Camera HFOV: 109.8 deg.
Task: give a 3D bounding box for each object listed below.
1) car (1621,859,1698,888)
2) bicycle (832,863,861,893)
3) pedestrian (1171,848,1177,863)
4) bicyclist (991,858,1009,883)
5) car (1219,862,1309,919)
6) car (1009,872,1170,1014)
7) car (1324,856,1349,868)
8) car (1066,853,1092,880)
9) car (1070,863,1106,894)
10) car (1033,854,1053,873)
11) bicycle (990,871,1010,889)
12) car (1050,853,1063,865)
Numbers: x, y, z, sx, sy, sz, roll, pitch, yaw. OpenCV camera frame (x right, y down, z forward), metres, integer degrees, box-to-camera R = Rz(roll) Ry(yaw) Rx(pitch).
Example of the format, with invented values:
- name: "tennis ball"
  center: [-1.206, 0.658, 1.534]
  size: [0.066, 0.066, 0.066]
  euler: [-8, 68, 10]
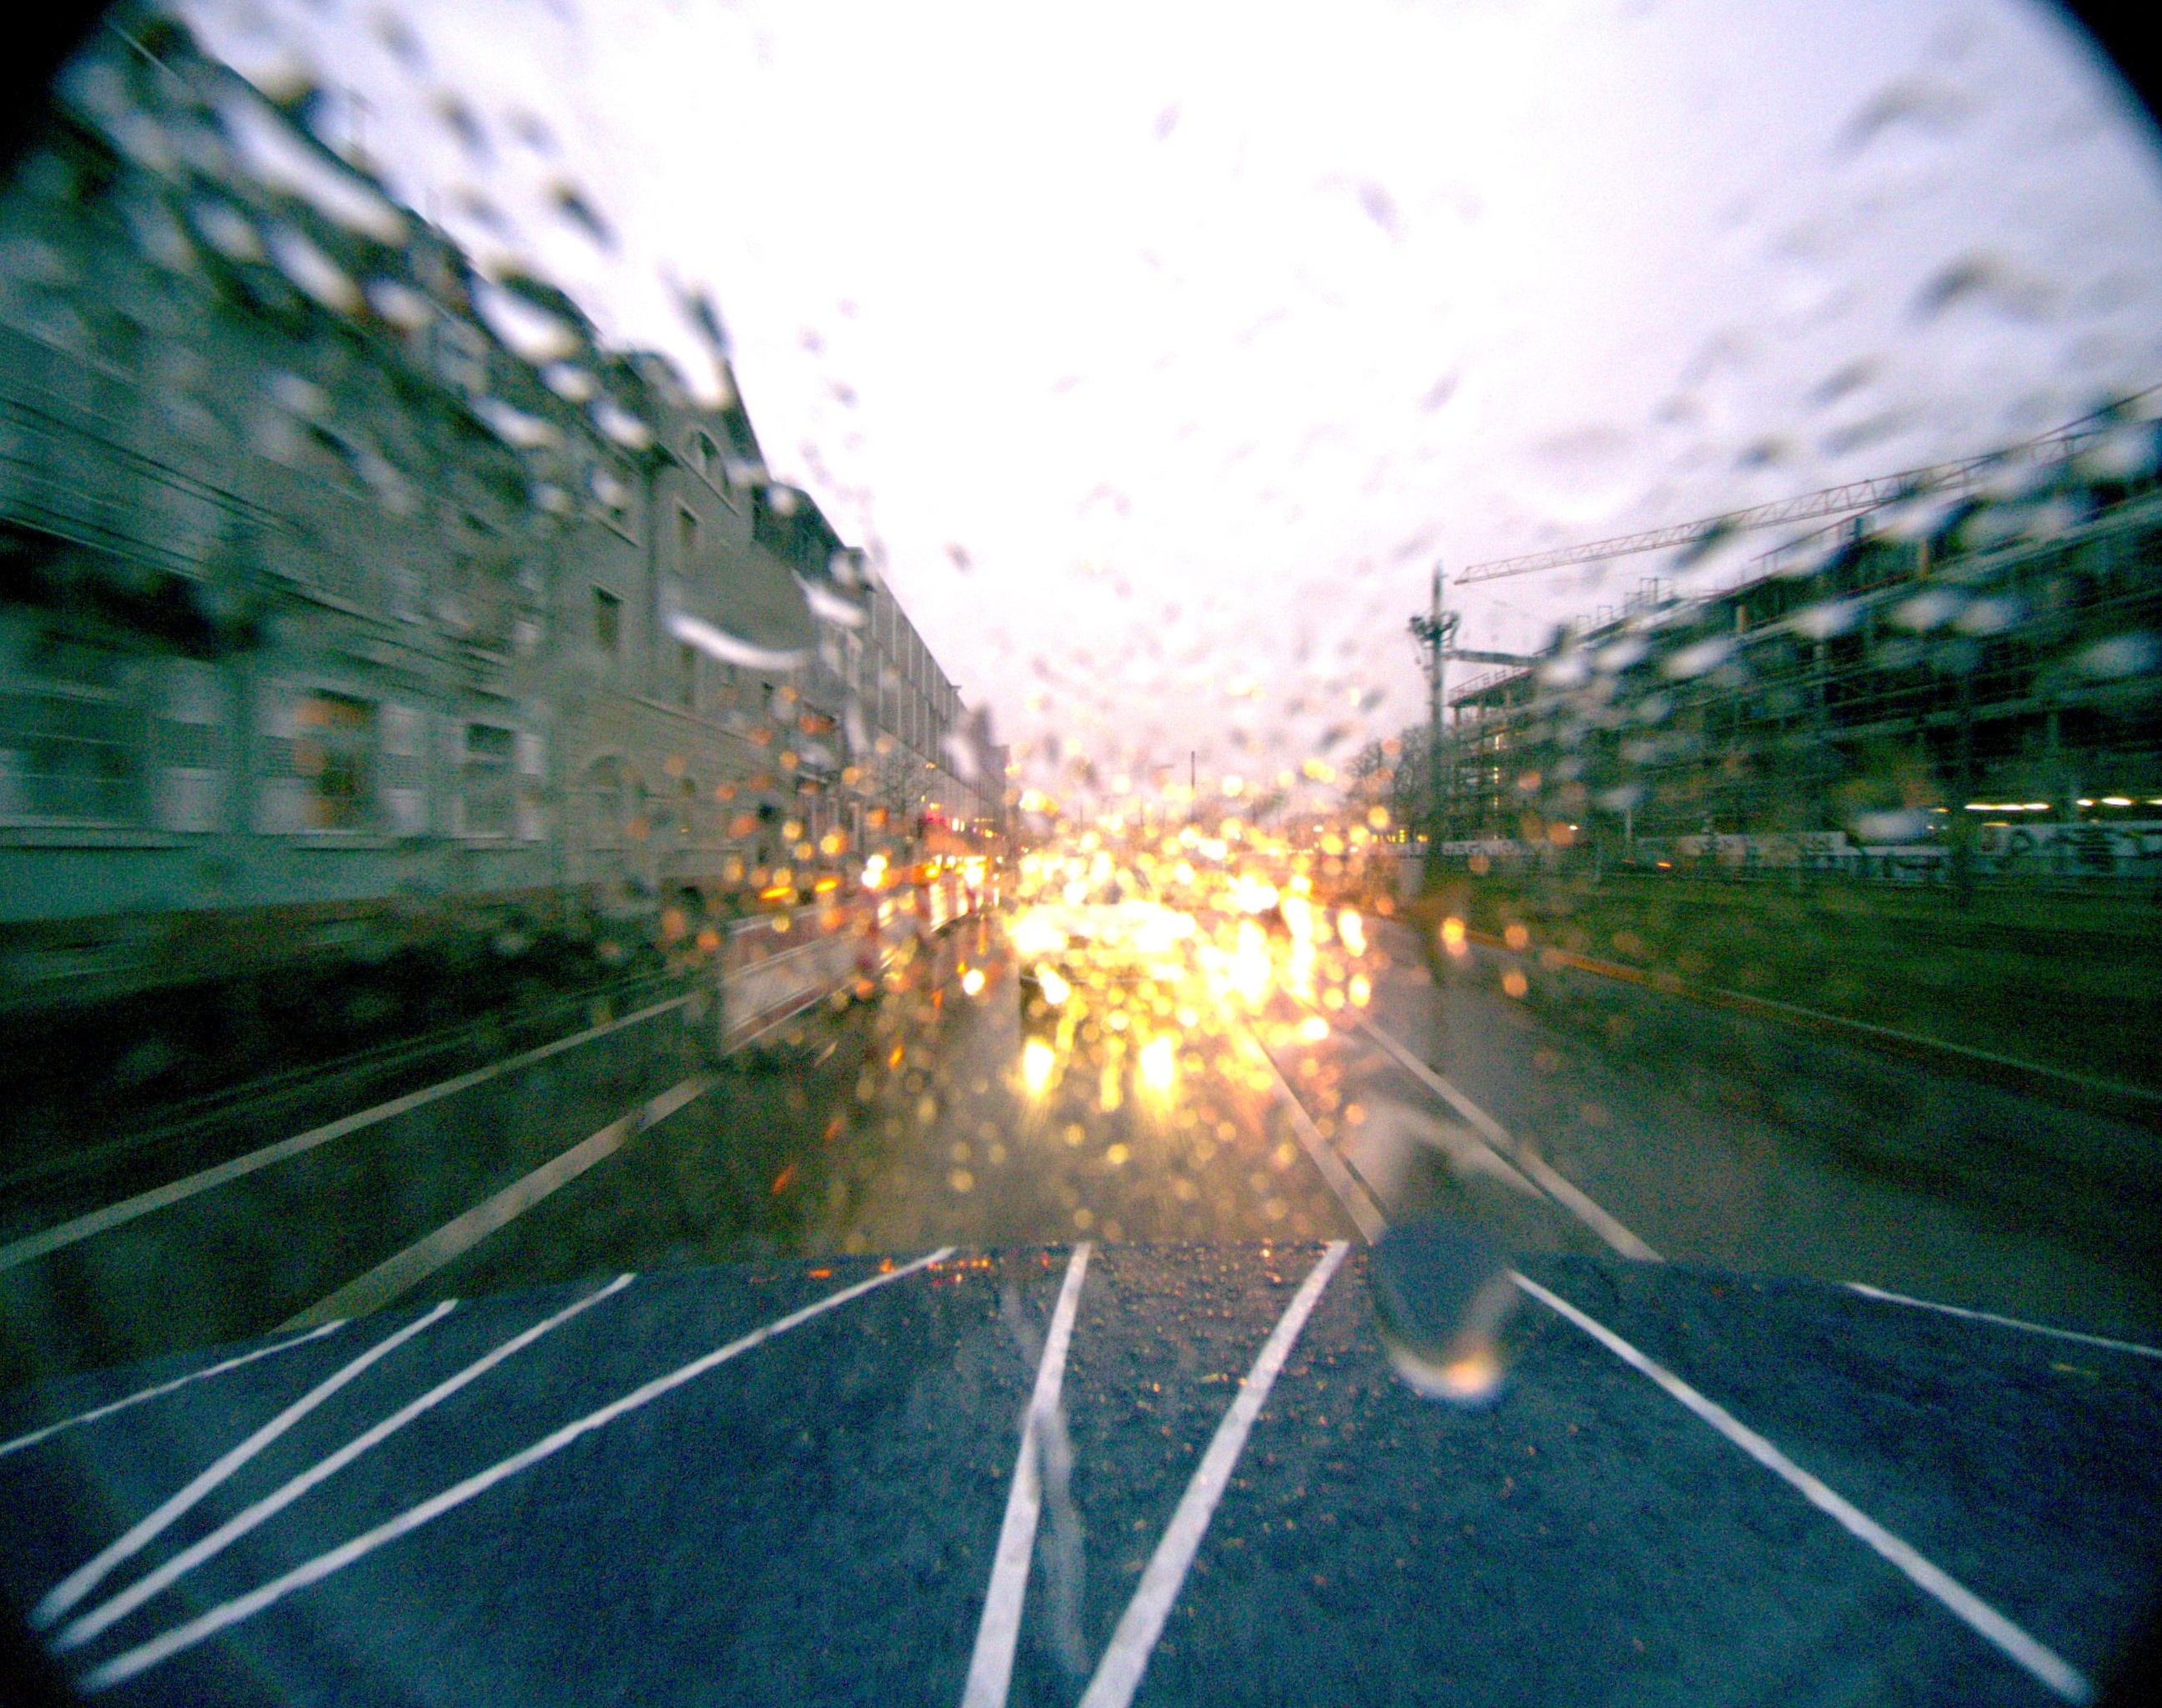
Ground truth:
- name: "car"
  center: [34.721, 1.159, 45.713]
  size: [1.758, 1.653, 3.764]
  euler: [0, 0, 0]
- name: "bicycle"
  center: [-10.237, 1.047, 33.206]
  size: [0.684, 1.215, 1.905]
  euler: [2, 1, -3]
- name: "pedestrian"
  center: [10.322, 0.189, 84.060]
  size: [0.585, 1.692, 0.740]
  euler: [-1, 1, 9]
- name: "bicyclist"
  center: [-4.891, 0.995, 45.786]
  size: [0.945, 1.454, 1.066]
  euler: [-1, 1, 0]
- name: "car"
  center: [5.164, 0.982, 21.899]
  size: [1.809, 1.444, 4.005]
  euler: [0, 0, 3]
- name: "car"
  center: [0.110, 1.071, 10.786]
  size: [1.814, 1.464, 4.139]
  euler: [-1, 0, 0]
- name: "car"
  center: [33.428, 1.048, 99.477]
  size: [1.687, 1.406, 4.340]
  euler: [-1, 0, -1]
- name: "car"
  center: [-0.181, 0.920, 57.916]
  size: [1.865, 1.867, 3.999]
  euler: [-1, 0, 0]
- name: "car"
  center: [0.391, 1.396, 44.621]
  size: [1.998, 1.673, 4.000]
  euler: [-1, 0, 0]
- name: "car"
  center: [-4.173, 1.063, 84.274]
  size: [1.999, 2.002, 3.999]
  euler: [-1, 1, -1]
- name: "bicycle"
  center: [-4.884, 1.546, 45.760]
  size: [0.945, 0.993, 2.240]
  euler: [-1, 0, 0]
- name: "car"
  center: [-3.489, 0.681, 109.494]
  size: [1.868, 1.652, 3.986]
  euler: [-1, 0, -1]
